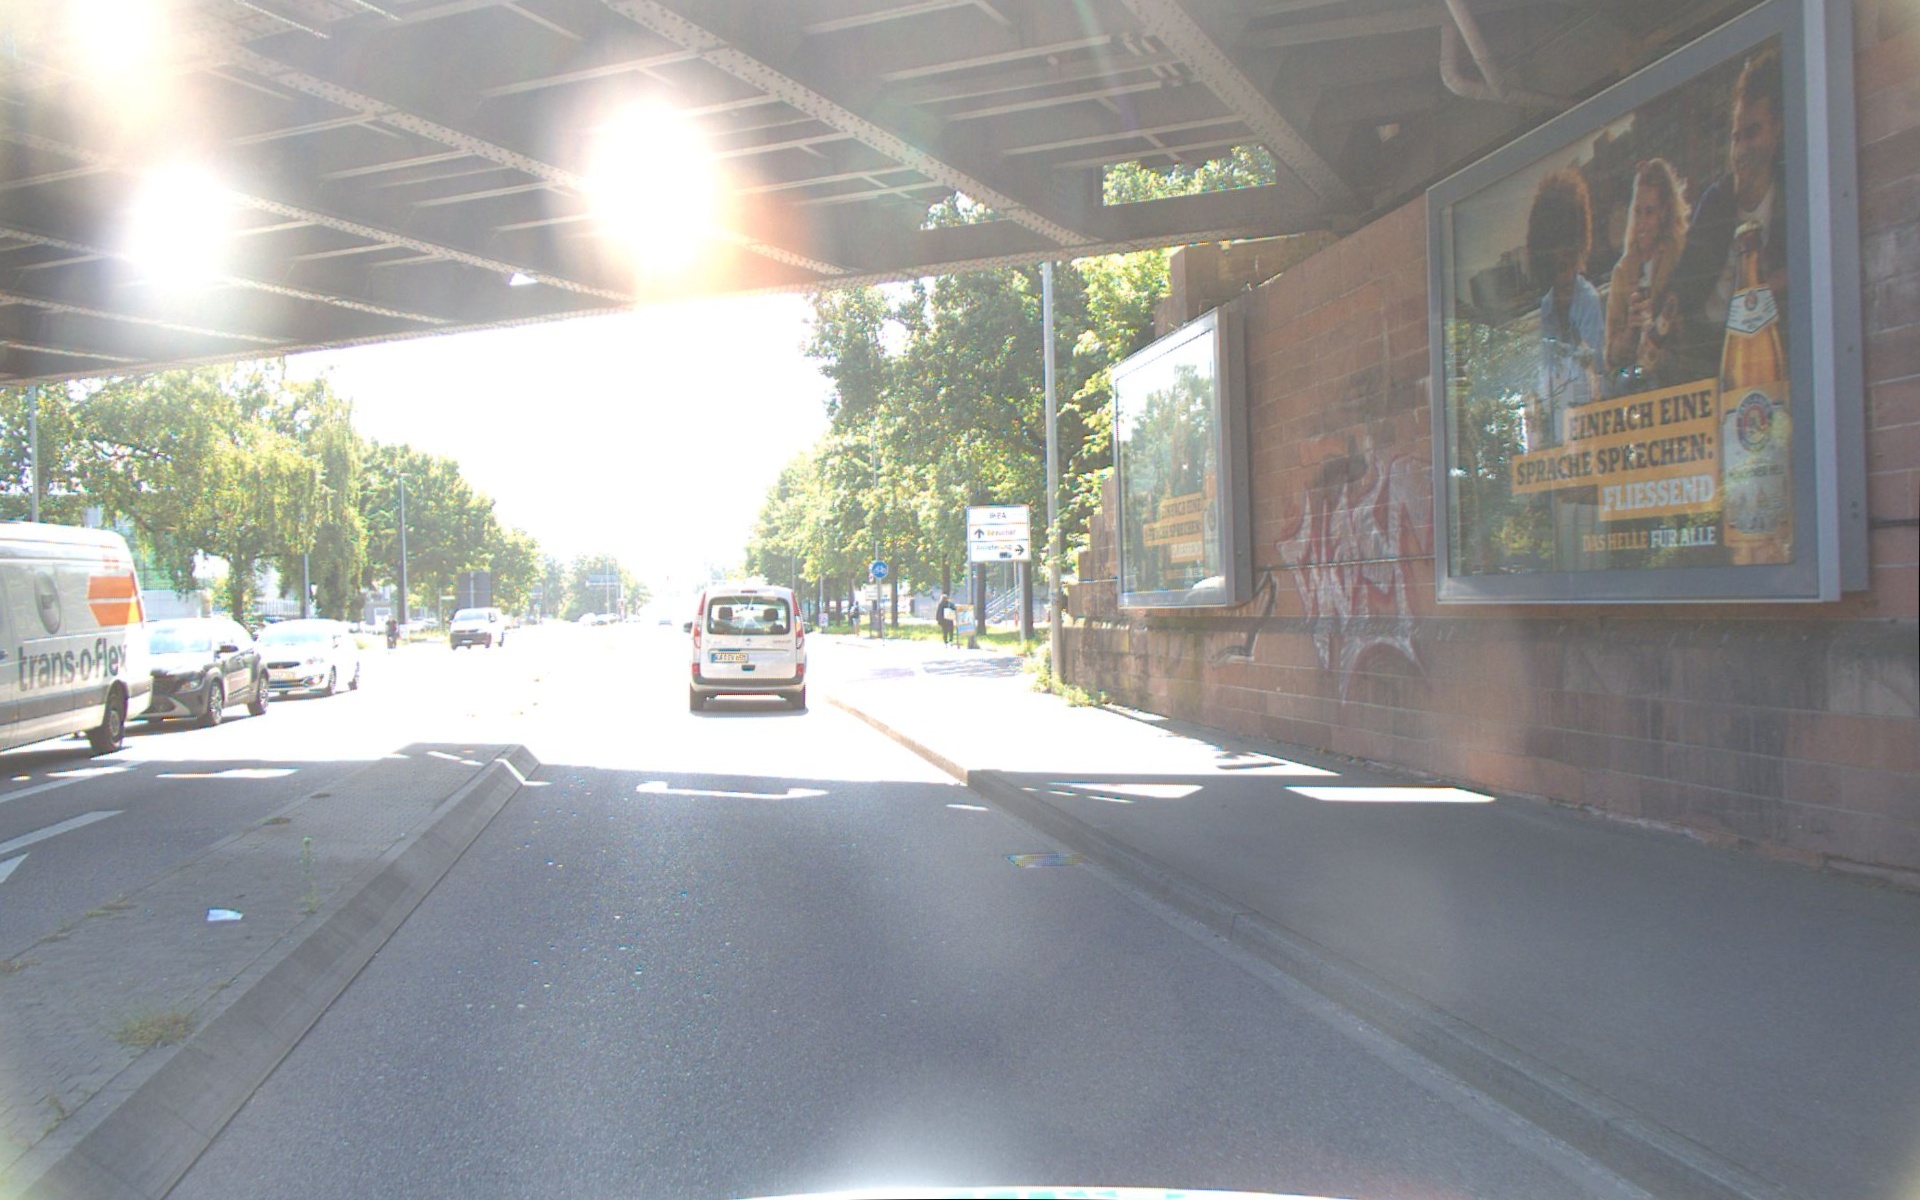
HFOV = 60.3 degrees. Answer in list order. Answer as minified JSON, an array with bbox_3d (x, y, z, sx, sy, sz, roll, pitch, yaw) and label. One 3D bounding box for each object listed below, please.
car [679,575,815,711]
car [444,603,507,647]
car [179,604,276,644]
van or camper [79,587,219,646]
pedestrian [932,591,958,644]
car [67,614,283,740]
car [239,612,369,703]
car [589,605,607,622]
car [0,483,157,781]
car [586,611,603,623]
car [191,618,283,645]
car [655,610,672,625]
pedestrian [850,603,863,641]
[{"bbox_3d":[-3.326,0.619,25.492,1.870,1.861,4.171,-2,0,-9],"label":"car"},{"bbox_3d":[-24.066,1.208,82.383,1.955,2.049,5.340,-2,0,-5],"label":"car"},{"bbox_3d":[-38.018,1.235,85.951,4.186,1.917,1.950,-2,0,-8],"label":"car"},{"bbox_3d":[-36.351,0.733,74.273,5.284,2.514,1.994,1,0,-12],"label":"van or camper"},{"bbox_3d":[-0.467,0.550,51.512,0.635,1.631,0.845,-2,0,-9],"label":"pedestrian"},{"bbox_3d":[-11.587,1.070,24.718,1.736,1.520,4.169,-3,1,-9],"label":"car"},{"bbox_3d":[-12.975,1.088,32.919,1.613,1.520,3.819,-3,1,-10],"label":"car"},{"bbox_3d":[-47.610,1.790,217.703,1.956,2.049,3.993,1,1,-8],"label":"car"},{"bbox_3d":[-10.460,0.360,17.198,1.959,2.853,6.918,-4,0,-11],"label":"car"},{"bbox_3d":[-46.714,2.156,211.288,1.808,1.489,4.988,-4,0,-10],"label":"car"},{"bbox_3d":[-39.816,1.723,91.142,4.186,1.351,1.950,-2,0,-8],"label":"car"},{"bbox_3d":[-35.524,2.102,198.239,1.957,1.713,3.991,-2,0,-9],"label":"car"},{"bbox_3d":[-5.163,1.074,82.340,0.525,1.874,0.726,-1,0,-10],"label":"pedestrian"}]
